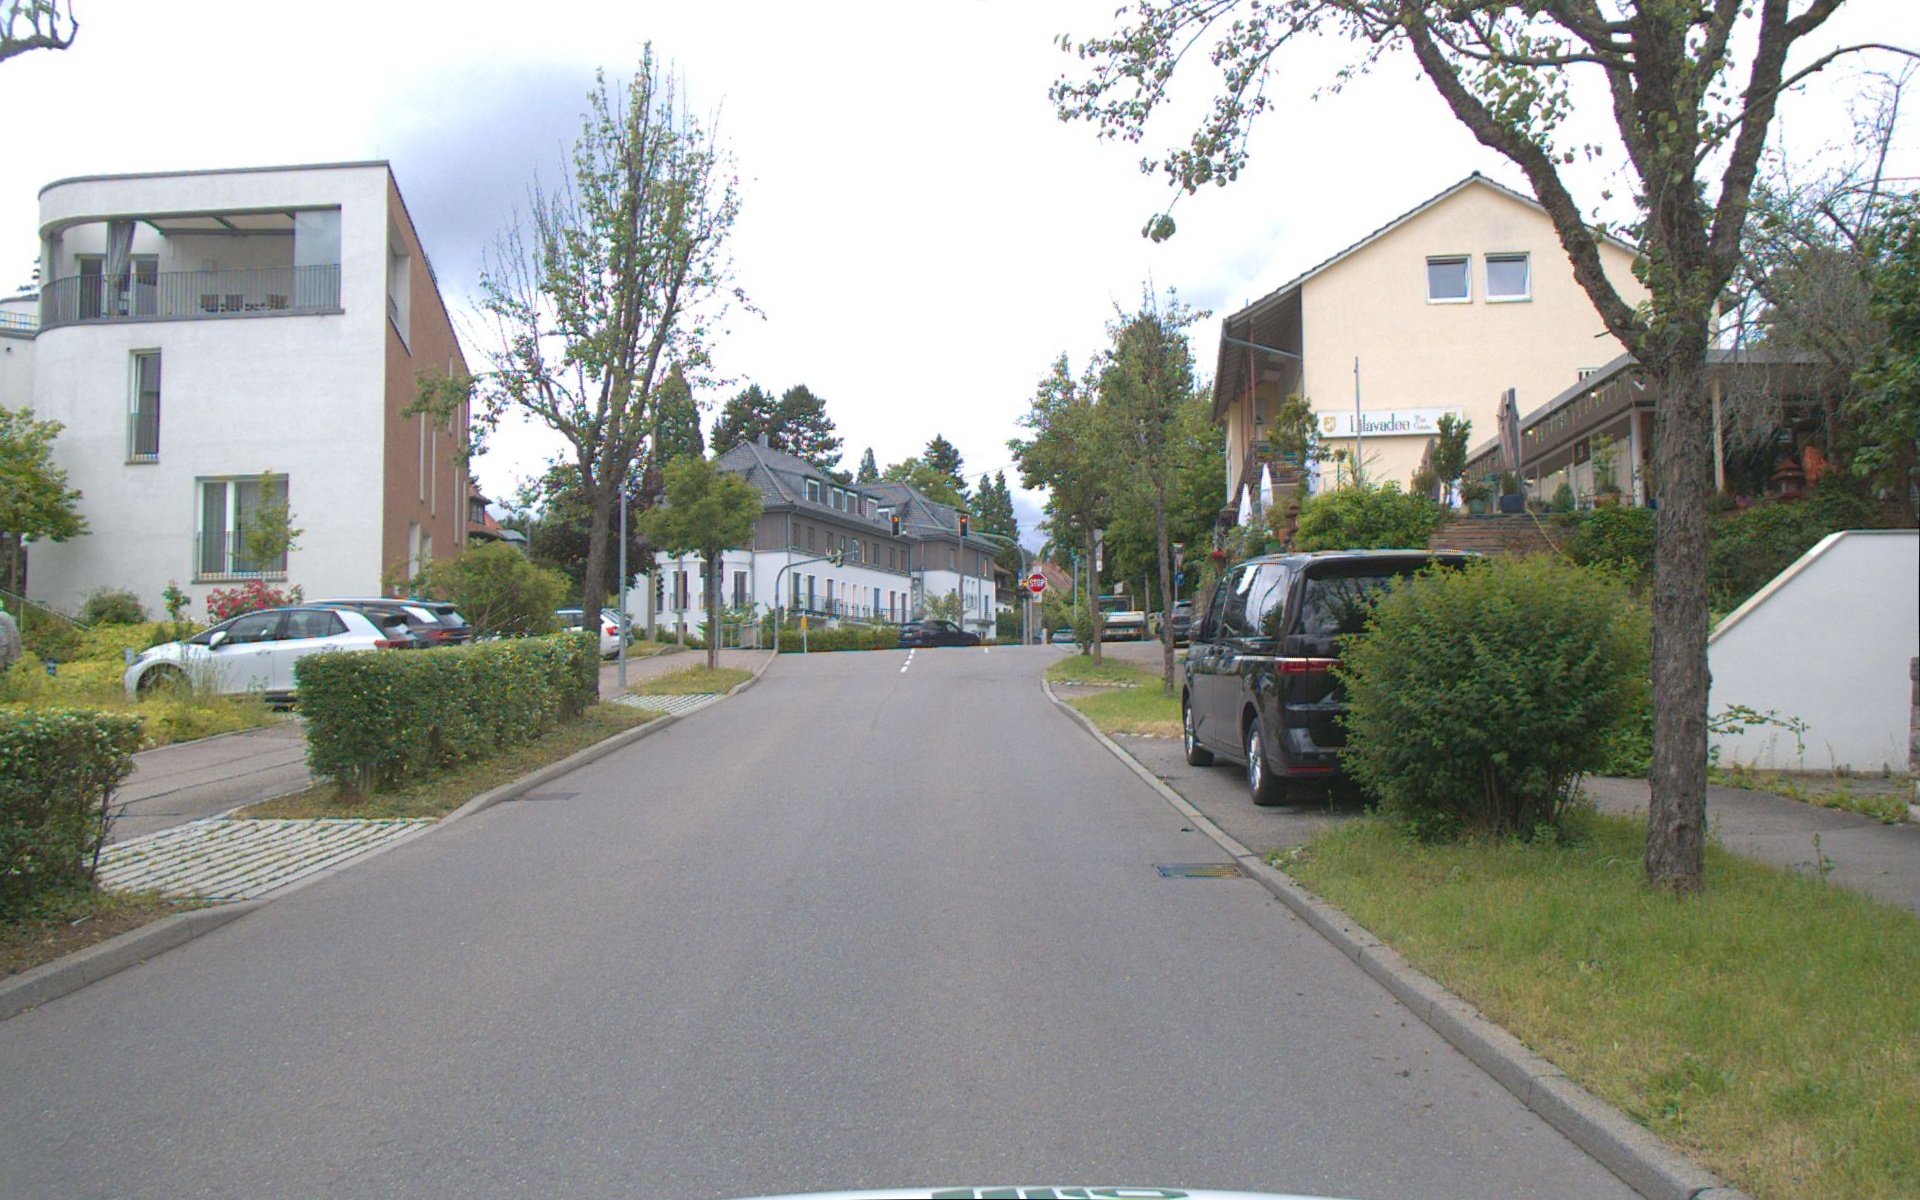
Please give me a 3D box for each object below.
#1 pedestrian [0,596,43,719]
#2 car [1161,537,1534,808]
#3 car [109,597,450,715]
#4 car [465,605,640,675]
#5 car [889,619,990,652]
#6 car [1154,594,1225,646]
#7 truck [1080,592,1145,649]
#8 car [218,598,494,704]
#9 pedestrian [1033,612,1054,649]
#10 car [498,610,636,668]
[{"bbox_3d":[-13.139,0.786,22.858,0.581,1.669,0.565,-2,-1,0],"label":"pedestrian"},{"bbox_3d":[3.052,0.522,14.280,1.897,1.870,5.217,-1,0,-1],"label":"car"},{"bbox_3d":[-10.261,0.815,25.218,4.299,1.594,2.065,-2,0,-3],"label":"car"},{"bbox_3d":[-10.786,1.060,44.046,4.176,1.652,2.012,-2,-2,-4],"label":"car"},{"bbox_3d":[-1.005,1.740,81.699,4.658,1.517,2.134,-1,0,-35],"label":"car"},{"bbox_3d":[7.371,0.658,53.461,1.810,1.498,4.387,-3,-1,3],"label":"car"},{"bbox_3d":[6.664,0.947,73.036,2.139,2.234,5.878,-1,-3,-2],"label":"truck"},{"bbox_3d":[-10.077,0.827,27.824,3.905,1.682,2.008,0,0,0],"label":"car"},{"bbox_3d":[3.871,1.405,76.363,0.692,1.711,0.678,-1,-1,-34],"label":"pedestrian"},{"bbox_3d":[-11.396,1.128,48.159,3.688,1.489,1.729,-2,0,-7],"label":"car"}]
